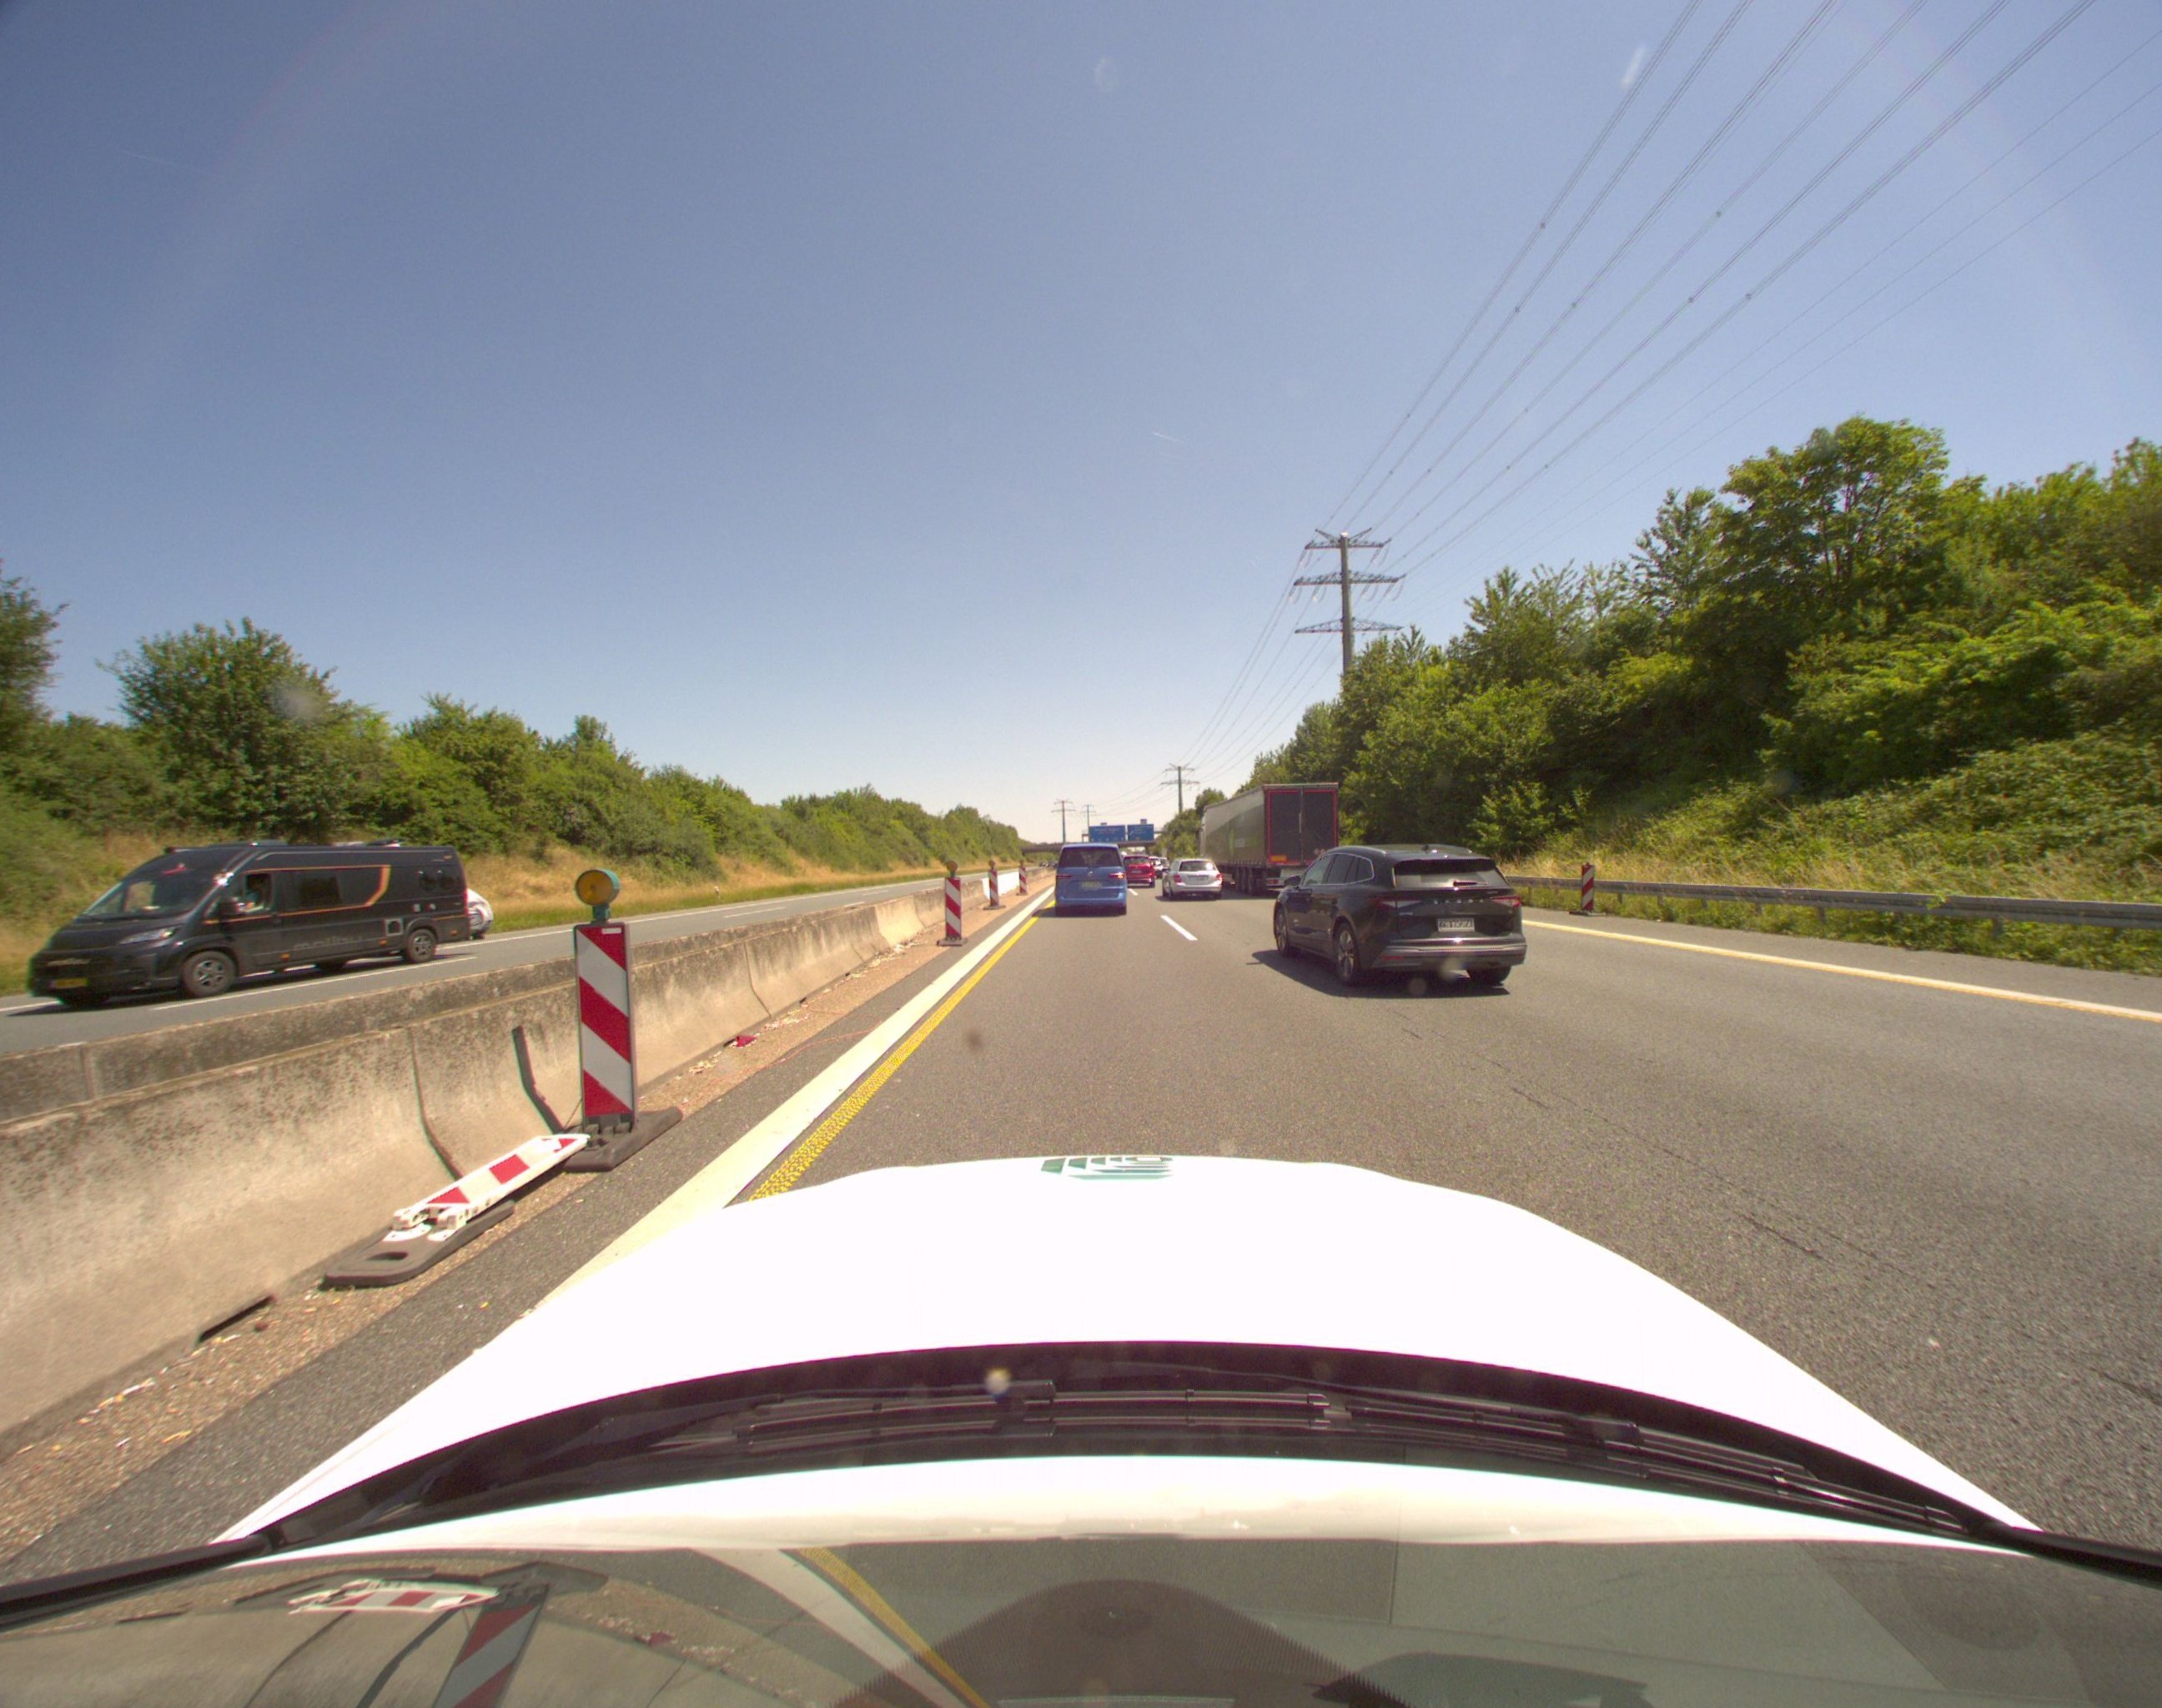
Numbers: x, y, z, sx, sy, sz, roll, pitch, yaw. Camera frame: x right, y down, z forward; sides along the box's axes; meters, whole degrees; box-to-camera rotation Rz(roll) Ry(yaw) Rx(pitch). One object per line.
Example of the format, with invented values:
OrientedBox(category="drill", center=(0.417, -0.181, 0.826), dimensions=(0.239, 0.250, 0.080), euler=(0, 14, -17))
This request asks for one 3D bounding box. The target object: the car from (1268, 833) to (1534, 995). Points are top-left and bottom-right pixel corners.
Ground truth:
OrientedBox(category="car", center=(3.796, 0.632, 10.583), dimensions=(1.695, 1.655, 4.428), euler=(0, -1, 0))

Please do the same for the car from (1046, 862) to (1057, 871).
OrientedBox(category="car", center=(-5.609, 2.340, 155.956), dimensions=(1.856, 1.490, 4.494), euler=(-3, 0, 1))

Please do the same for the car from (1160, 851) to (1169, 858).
OrientedBox(category="car", center=(19.910, 0.048, 194.385), dimensions=(1.869, 1.671, 4.358), euler=(0, -1, 0))

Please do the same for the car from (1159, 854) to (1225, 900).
OrientedBox(category="car", center=(3.887, 0.773, 29.107), dimensions=(1.765, 1.517, 4.358), euler=(0, -1, 0))

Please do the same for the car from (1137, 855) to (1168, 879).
OrientedBox(category="car", center=(4.909, 0.864, 56.415), dimensions=(1.791, 1.594, 4.227), euler=(0, -1, 0))

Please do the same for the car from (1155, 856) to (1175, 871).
OrientedBox(category="car", center=(8.537, 0.969, 83.248), dimensions=(1.695, 1.448, 3.787), euler=(0, -1, 0))

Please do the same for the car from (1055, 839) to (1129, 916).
OrientedBox(category="car", center=(0.272, 0.611, 22.629), dimensions=(1.869, 1.912, 4.358), euler=(0, -1, 0))

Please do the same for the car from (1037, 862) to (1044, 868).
OrientedBox(category="car", center=(-10.919, 2.925, 221.323), dimensions=(1.703, 1.464, 3.848), euler=(-3, 0, 0))

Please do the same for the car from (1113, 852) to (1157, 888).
OrientedBox(category="car", center=(2.640, 0.773, 40.744), dimensions=(1.869, 1.671, 4.358), euler=(0, -1, 0))

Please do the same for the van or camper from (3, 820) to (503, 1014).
OrientedBox(category="van or camper", center=(-14.740, 0.958, 15.575), dimensions=(2.215, 2.710, 7.078), euler=(-4, 0, -1))

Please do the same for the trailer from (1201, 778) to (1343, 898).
OrientedBox(category="trailer", center=(7.389, -0.492, 33.955), dimensions=(2.774, 4.047, 13.108), euler=(0, -1, 0))

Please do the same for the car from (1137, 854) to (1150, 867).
OrientedBox(category="car", center=(9.854, 1.070, 128.359), dimensions=(1.792, 2.014, 4.226), euler=(0, -1, 0))

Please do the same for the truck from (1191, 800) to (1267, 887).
OrientedBox(category="truck", center=(7.354, -0.471, 41.212), dimensions=(2.724, 4.047, 5.792), euler=(0, -1, 0))
